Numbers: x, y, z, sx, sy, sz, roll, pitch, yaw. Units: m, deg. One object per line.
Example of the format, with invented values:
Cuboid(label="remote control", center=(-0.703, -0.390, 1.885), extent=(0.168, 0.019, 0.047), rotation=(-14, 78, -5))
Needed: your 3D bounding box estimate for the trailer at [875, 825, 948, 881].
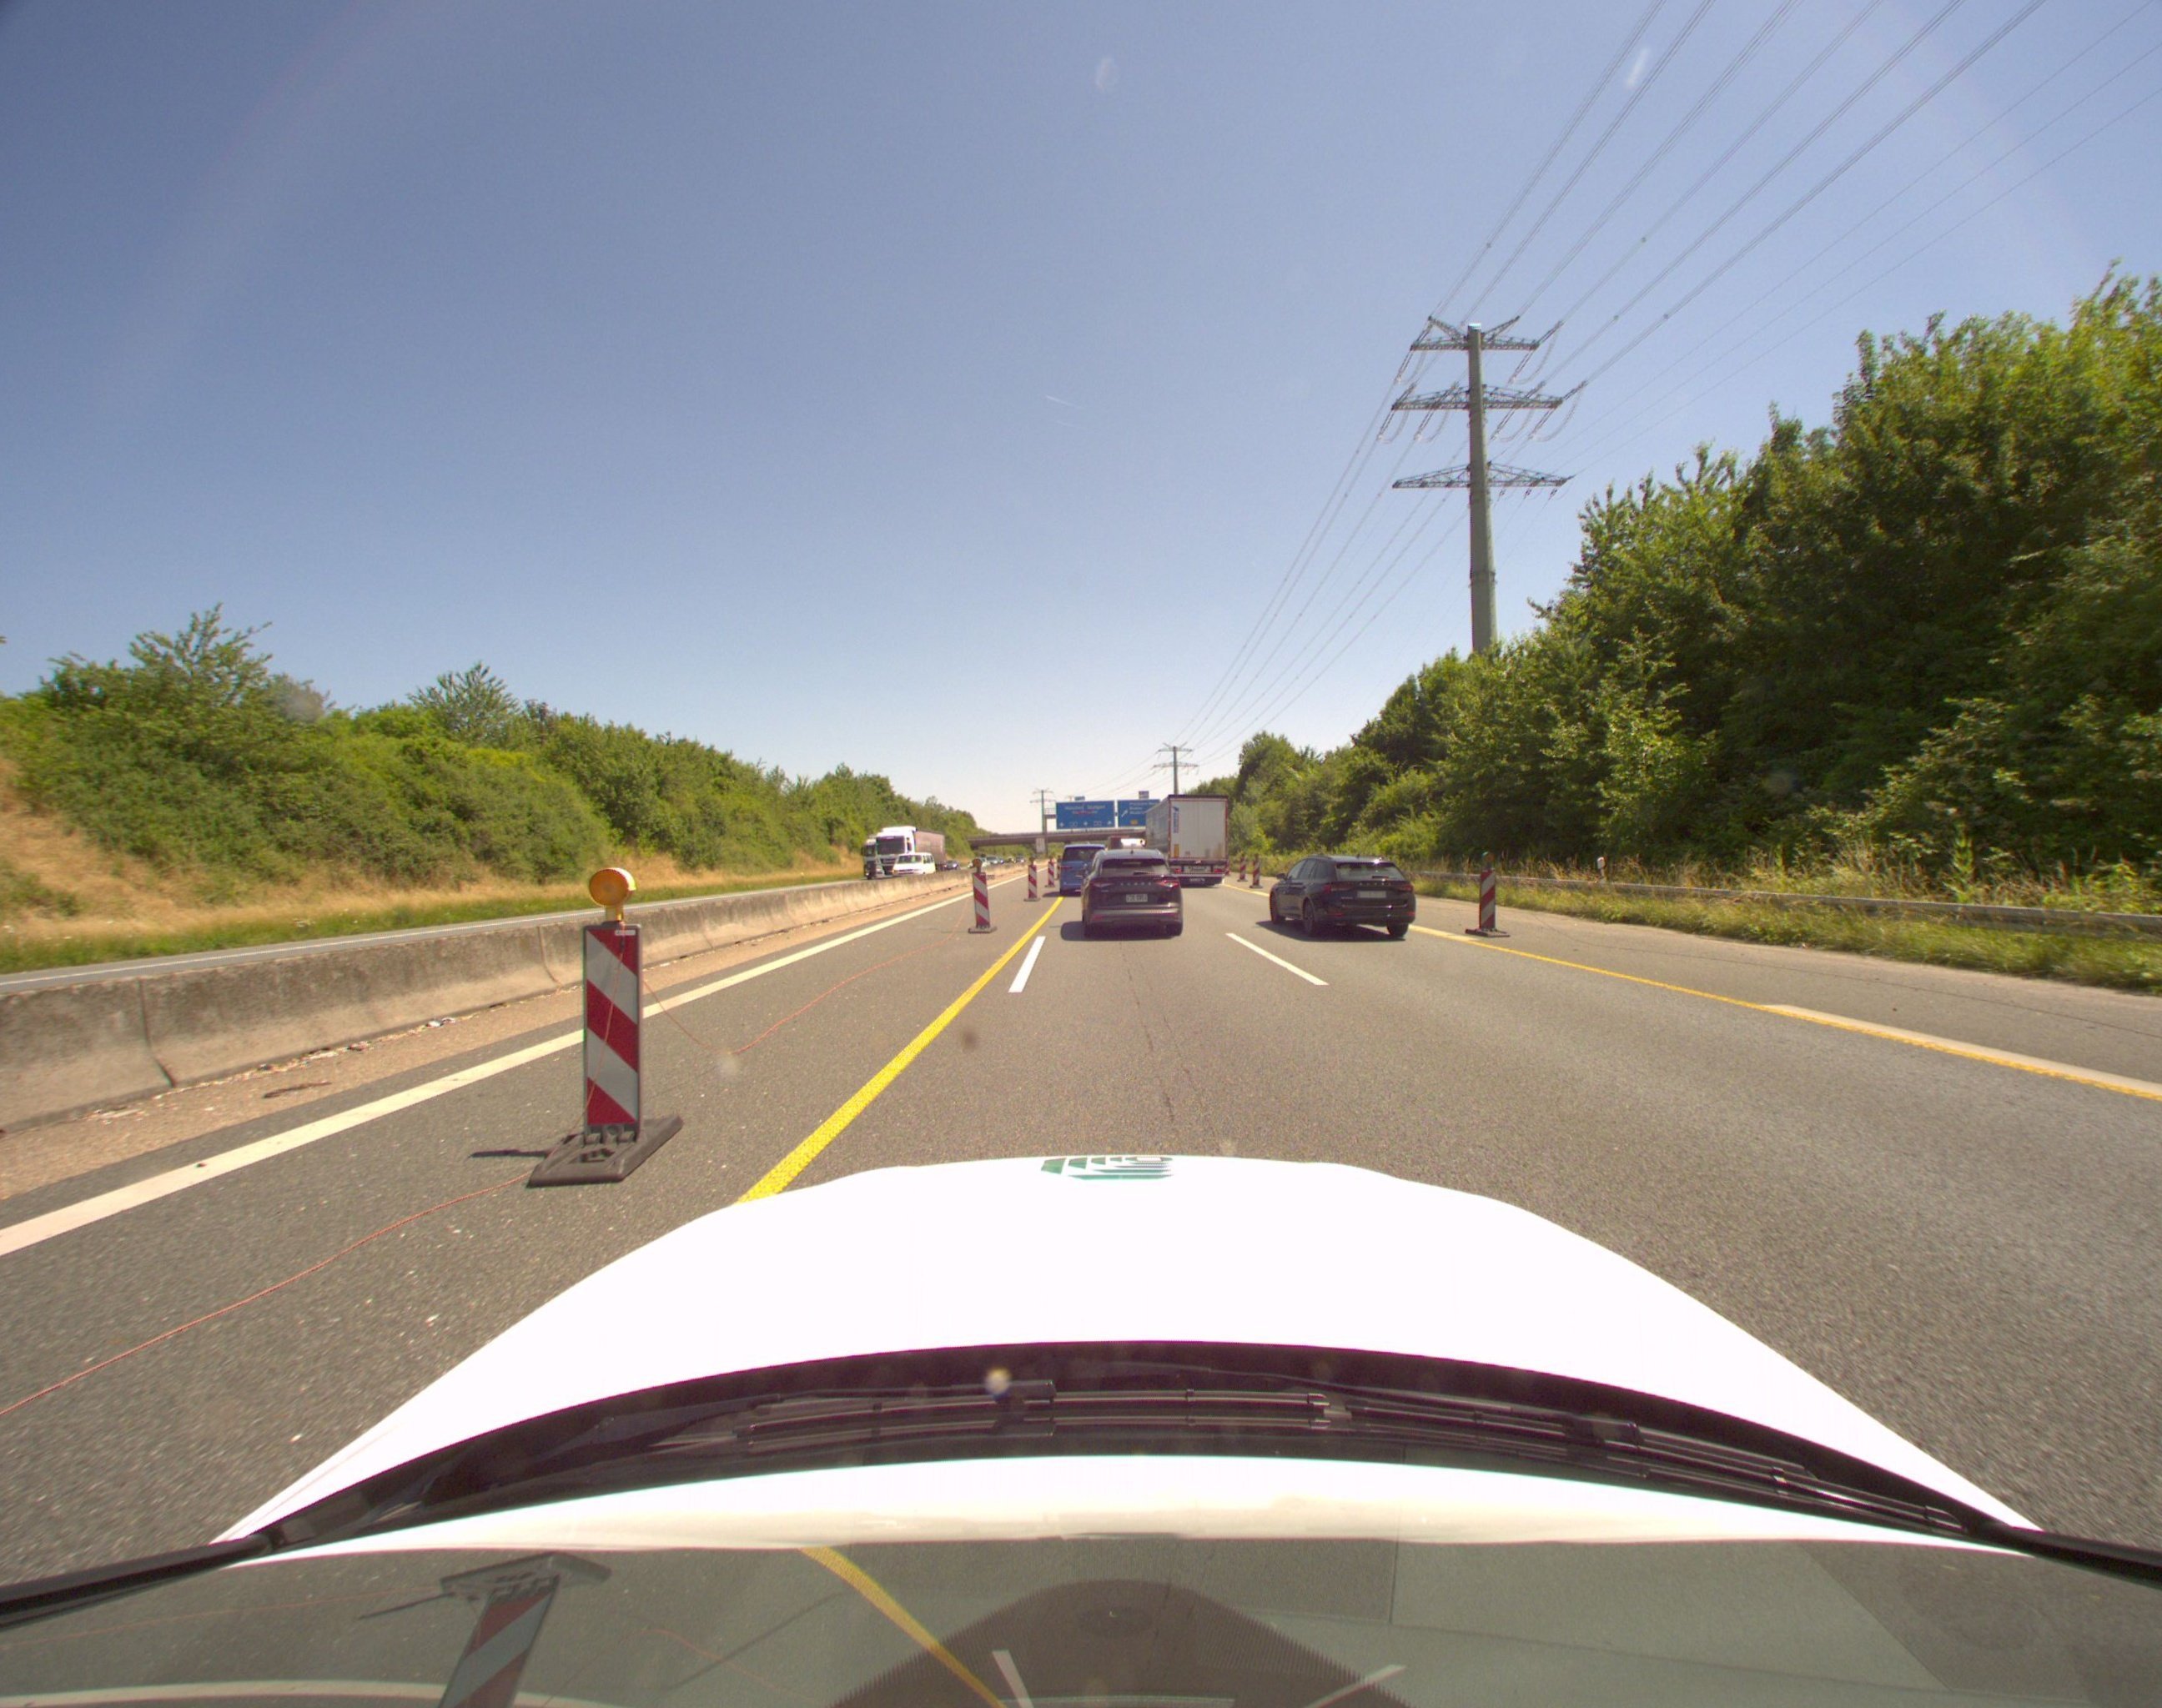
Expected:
Cuboid(label="trailer", center=(-14.229, -0.089, 69.989), extent=(3.150, 4.180, 13.684), rotation=(-2, 0, 0))

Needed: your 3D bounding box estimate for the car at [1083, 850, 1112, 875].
Cuboid(label="car", center=(1.094, 0.540, 56.452), extent=(1.890, 1.509, 4.442), rotation=(1, 2, 0))

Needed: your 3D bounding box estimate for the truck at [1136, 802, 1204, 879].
Cuboid(label="truck", center=(5.014, -0.751, 47.489), extent=(3.015, 4.087, 7.793), rotation=(-1, 0, -1))

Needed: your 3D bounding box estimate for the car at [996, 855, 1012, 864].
Cuboid(label="car", center=(-12.830, 0.889, 136.498), extent=(1.986, 1.460, 4.589), rotation=(-2, 0, 2))

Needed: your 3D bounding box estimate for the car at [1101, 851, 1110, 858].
Cuboid(label="car", center=(5.758, 0.173, 194.201), extent=(1.890, 1.509, 4.442), rotation=(1, 2, 0))

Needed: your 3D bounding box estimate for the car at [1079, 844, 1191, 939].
Cuboid(label="car", center=(0.935, 0.638, 16.328), extent=(1.890, 1.592, 4.441), rotation=(-2, 0, 0))

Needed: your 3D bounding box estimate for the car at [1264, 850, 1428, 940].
Cuboid(label="car", center=(4.940, 0.688, 15.852), extent=(1.773, 1.489, 4.464), rotation=(0, 0, 0))

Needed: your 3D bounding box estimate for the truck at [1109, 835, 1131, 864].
Cuboid(label="truck", center=(5.733, -0.607, 120.539), extent=(3.066, 4.146, 13.059), rotation=(0, 0, 2))

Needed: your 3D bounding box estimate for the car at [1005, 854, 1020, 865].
Cuboid(label="car", center=(-10.945, 0.907, 130.304), extent=(1.835, 1.714, 4.397), rotation=(-2, 0, 1))

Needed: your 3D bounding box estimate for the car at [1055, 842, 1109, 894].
Cuboid(label="car", center=(0.021, 0.520, 30.978), extent=(1.890, 1.841, 4.441), rotation=(0, -1, 0))

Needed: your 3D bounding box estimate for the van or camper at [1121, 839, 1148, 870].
Cuboid(label="van or camper", center=(5.386, 0.051, 83.033), extent=(2.577, 2.968, 6.087), rotation=(1, 0, 2))

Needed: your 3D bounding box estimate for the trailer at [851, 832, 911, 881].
Cuboid(label="trailer", center=(-18.559, 0.193, 76.440), extent=(2.472, 4.180, 12.085), rotation=(-2, 0, 0))

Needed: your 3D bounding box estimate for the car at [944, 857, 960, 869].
Cuboid(label="car", center=(-17.042, 1.185, 107.353), extent=(1.499, 1.396, 4.087), rotation=(-2, 0, -2))

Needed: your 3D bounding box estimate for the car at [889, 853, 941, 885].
Cuboid(label="car", center=(-10.206, 0.855, 50.472), extent=(1.860, 1.792, 5.456), rotation=(-2, 0, 1))

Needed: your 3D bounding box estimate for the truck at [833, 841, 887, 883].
Cuboid(label="truck", center=(-18.614, 0.646, 68.952), extent=(2.456, 3.288, 6.924), rotation=(-2, 0, 0))

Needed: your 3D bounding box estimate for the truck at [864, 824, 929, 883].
Cuboid(label="truck", center=(-14.304, -0.047, 63.810), extent=(3.153, 4.224, 7.416), rotation=(-3, 0, 1))

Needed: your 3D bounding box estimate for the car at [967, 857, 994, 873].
Cuboid(label="car", center=(-9.622, 1.030, 78.096), extent=(1.755, 1.471, 4.636), rotation=(-2, 0, 2))

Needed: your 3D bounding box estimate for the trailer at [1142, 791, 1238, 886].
Cuboid(label="trailer", center=(5.078, -0.679, 40.544), extent=(3.056, 4.042, 11.483), rotation=(-1, 0, -1))

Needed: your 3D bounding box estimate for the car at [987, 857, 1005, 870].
Cuboid(label="car", center=(-10.055, 1.086, 96.532), extent=(1.610, 1.442, 3.992), rotation=(-2, 0, 2))
